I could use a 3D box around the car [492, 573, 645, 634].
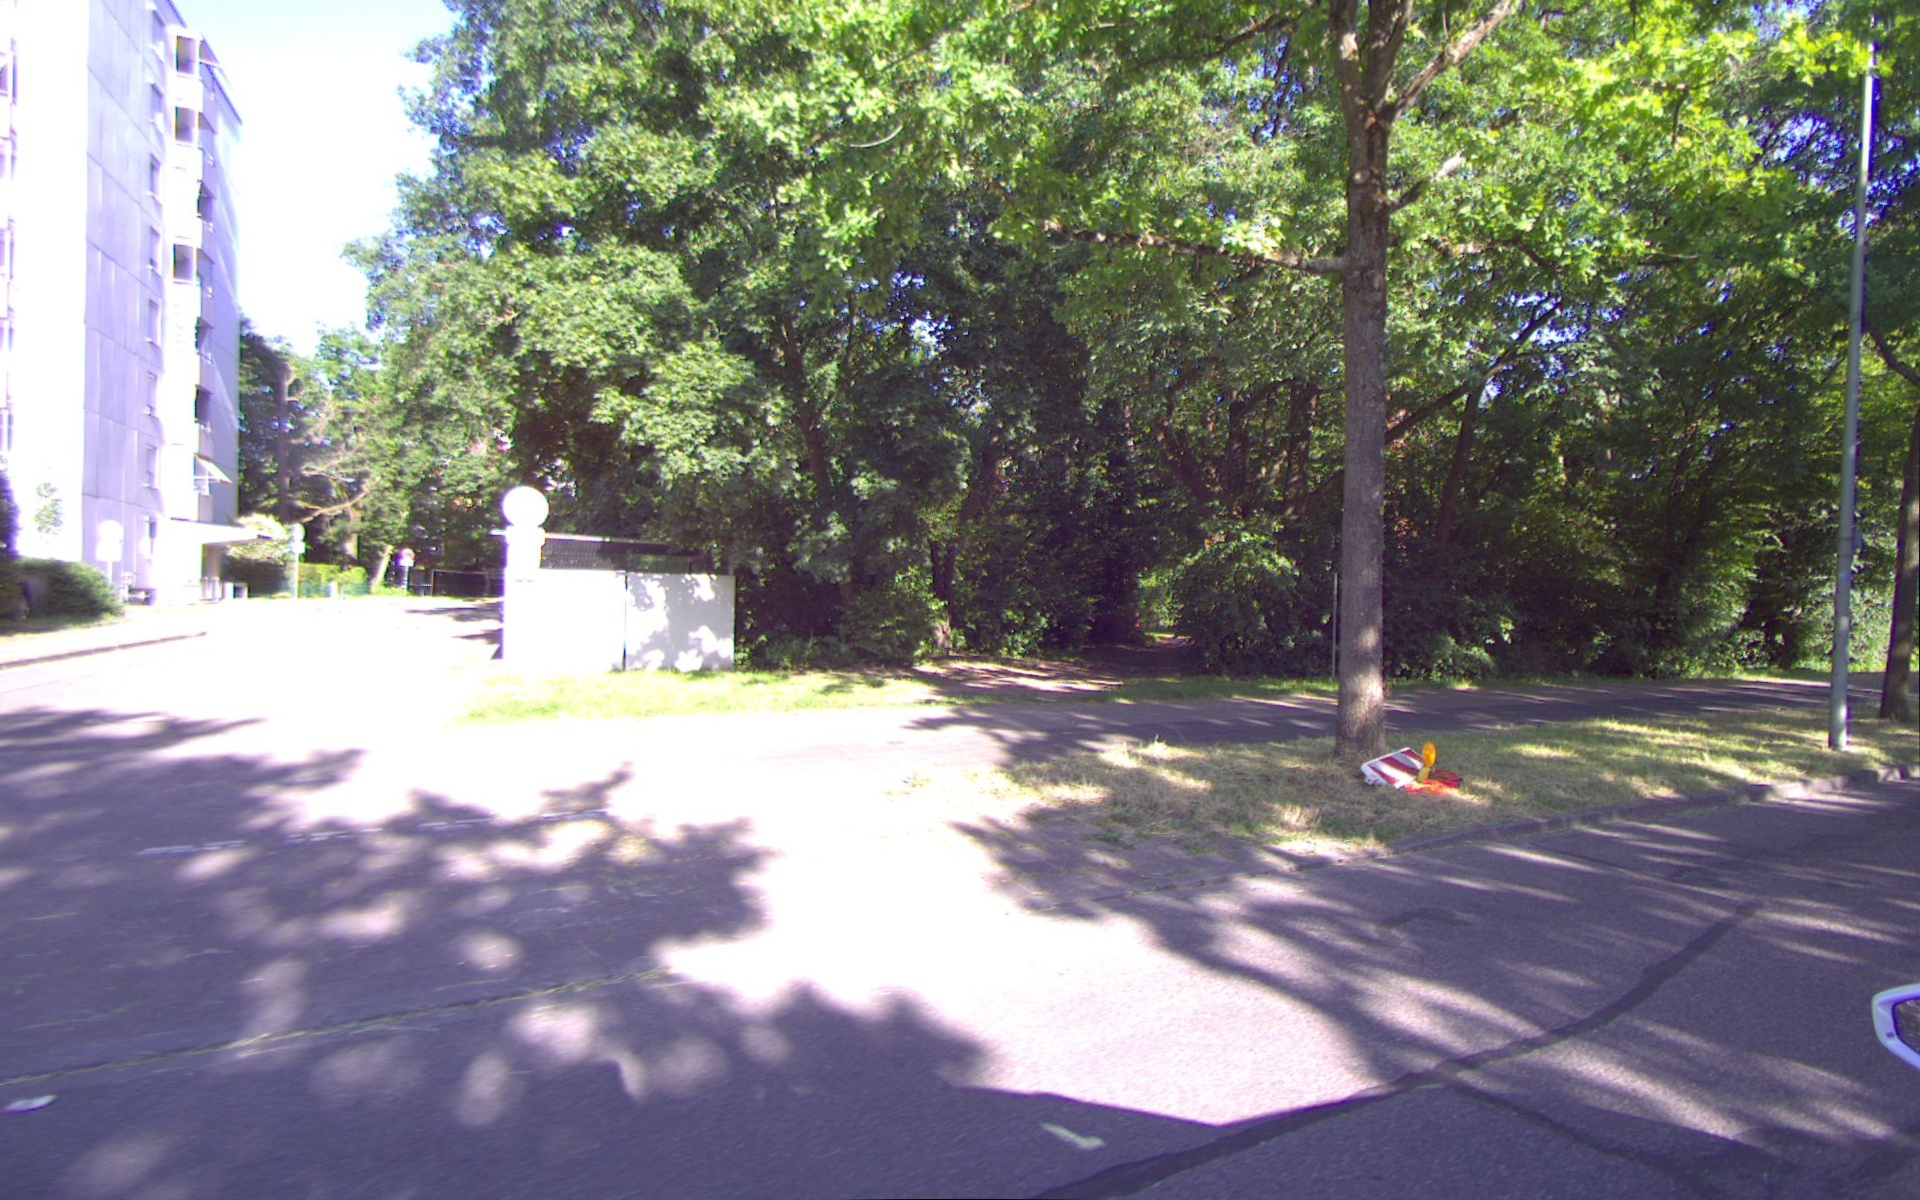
[{"bbox_3d":[-12.211,0.125,31.351,4.204,1.777,1.984,1,0,-30],"label":"car"}]

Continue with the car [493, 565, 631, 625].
[{"bbox_3d":[-15.221,-0.178,38.471,4.763,2.160,1.987,1,0,-26],"label":"car"}]
